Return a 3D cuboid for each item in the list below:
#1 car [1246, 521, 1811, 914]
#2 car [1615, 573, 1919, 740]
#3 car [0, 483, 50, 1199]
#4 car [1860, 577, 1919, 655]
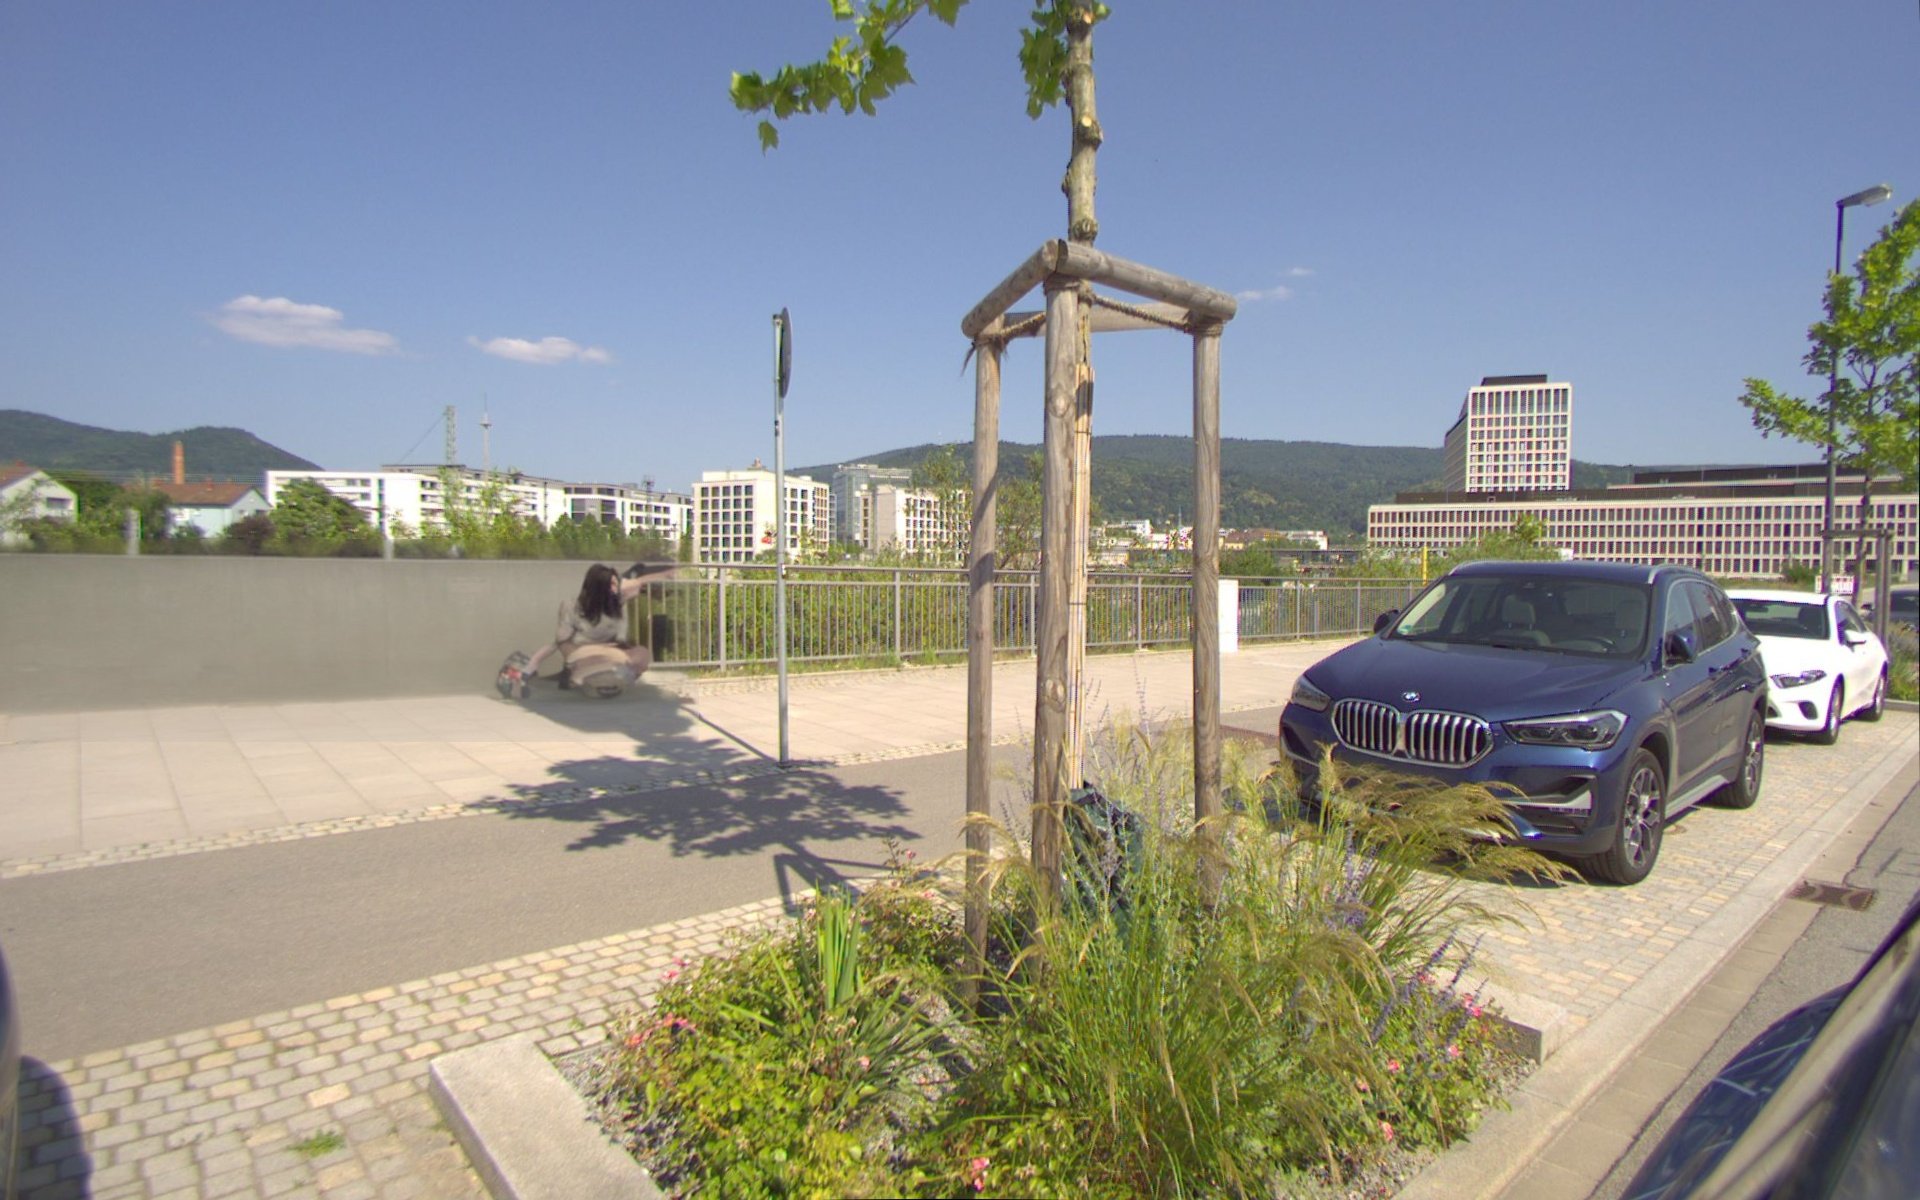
[{"bbox_3d":[3.808,0.422,6.446,4.197,1.703,1.807,-1,4,-41],"label":"car"},{"bbox_3d":[8.912,0.461,11.031,4.194,1.390,1.711,-1,5,-39],"label":"car"},{"bbox_3d":[-2.819,0.611,0.493,3.485,1.574,1.585,0,4,-41],"label":"car"},{"bbox_3d":[20.206,0.308,20.971,3.849,1.449,1.808,-1,5,-41],"label":"car"}]
